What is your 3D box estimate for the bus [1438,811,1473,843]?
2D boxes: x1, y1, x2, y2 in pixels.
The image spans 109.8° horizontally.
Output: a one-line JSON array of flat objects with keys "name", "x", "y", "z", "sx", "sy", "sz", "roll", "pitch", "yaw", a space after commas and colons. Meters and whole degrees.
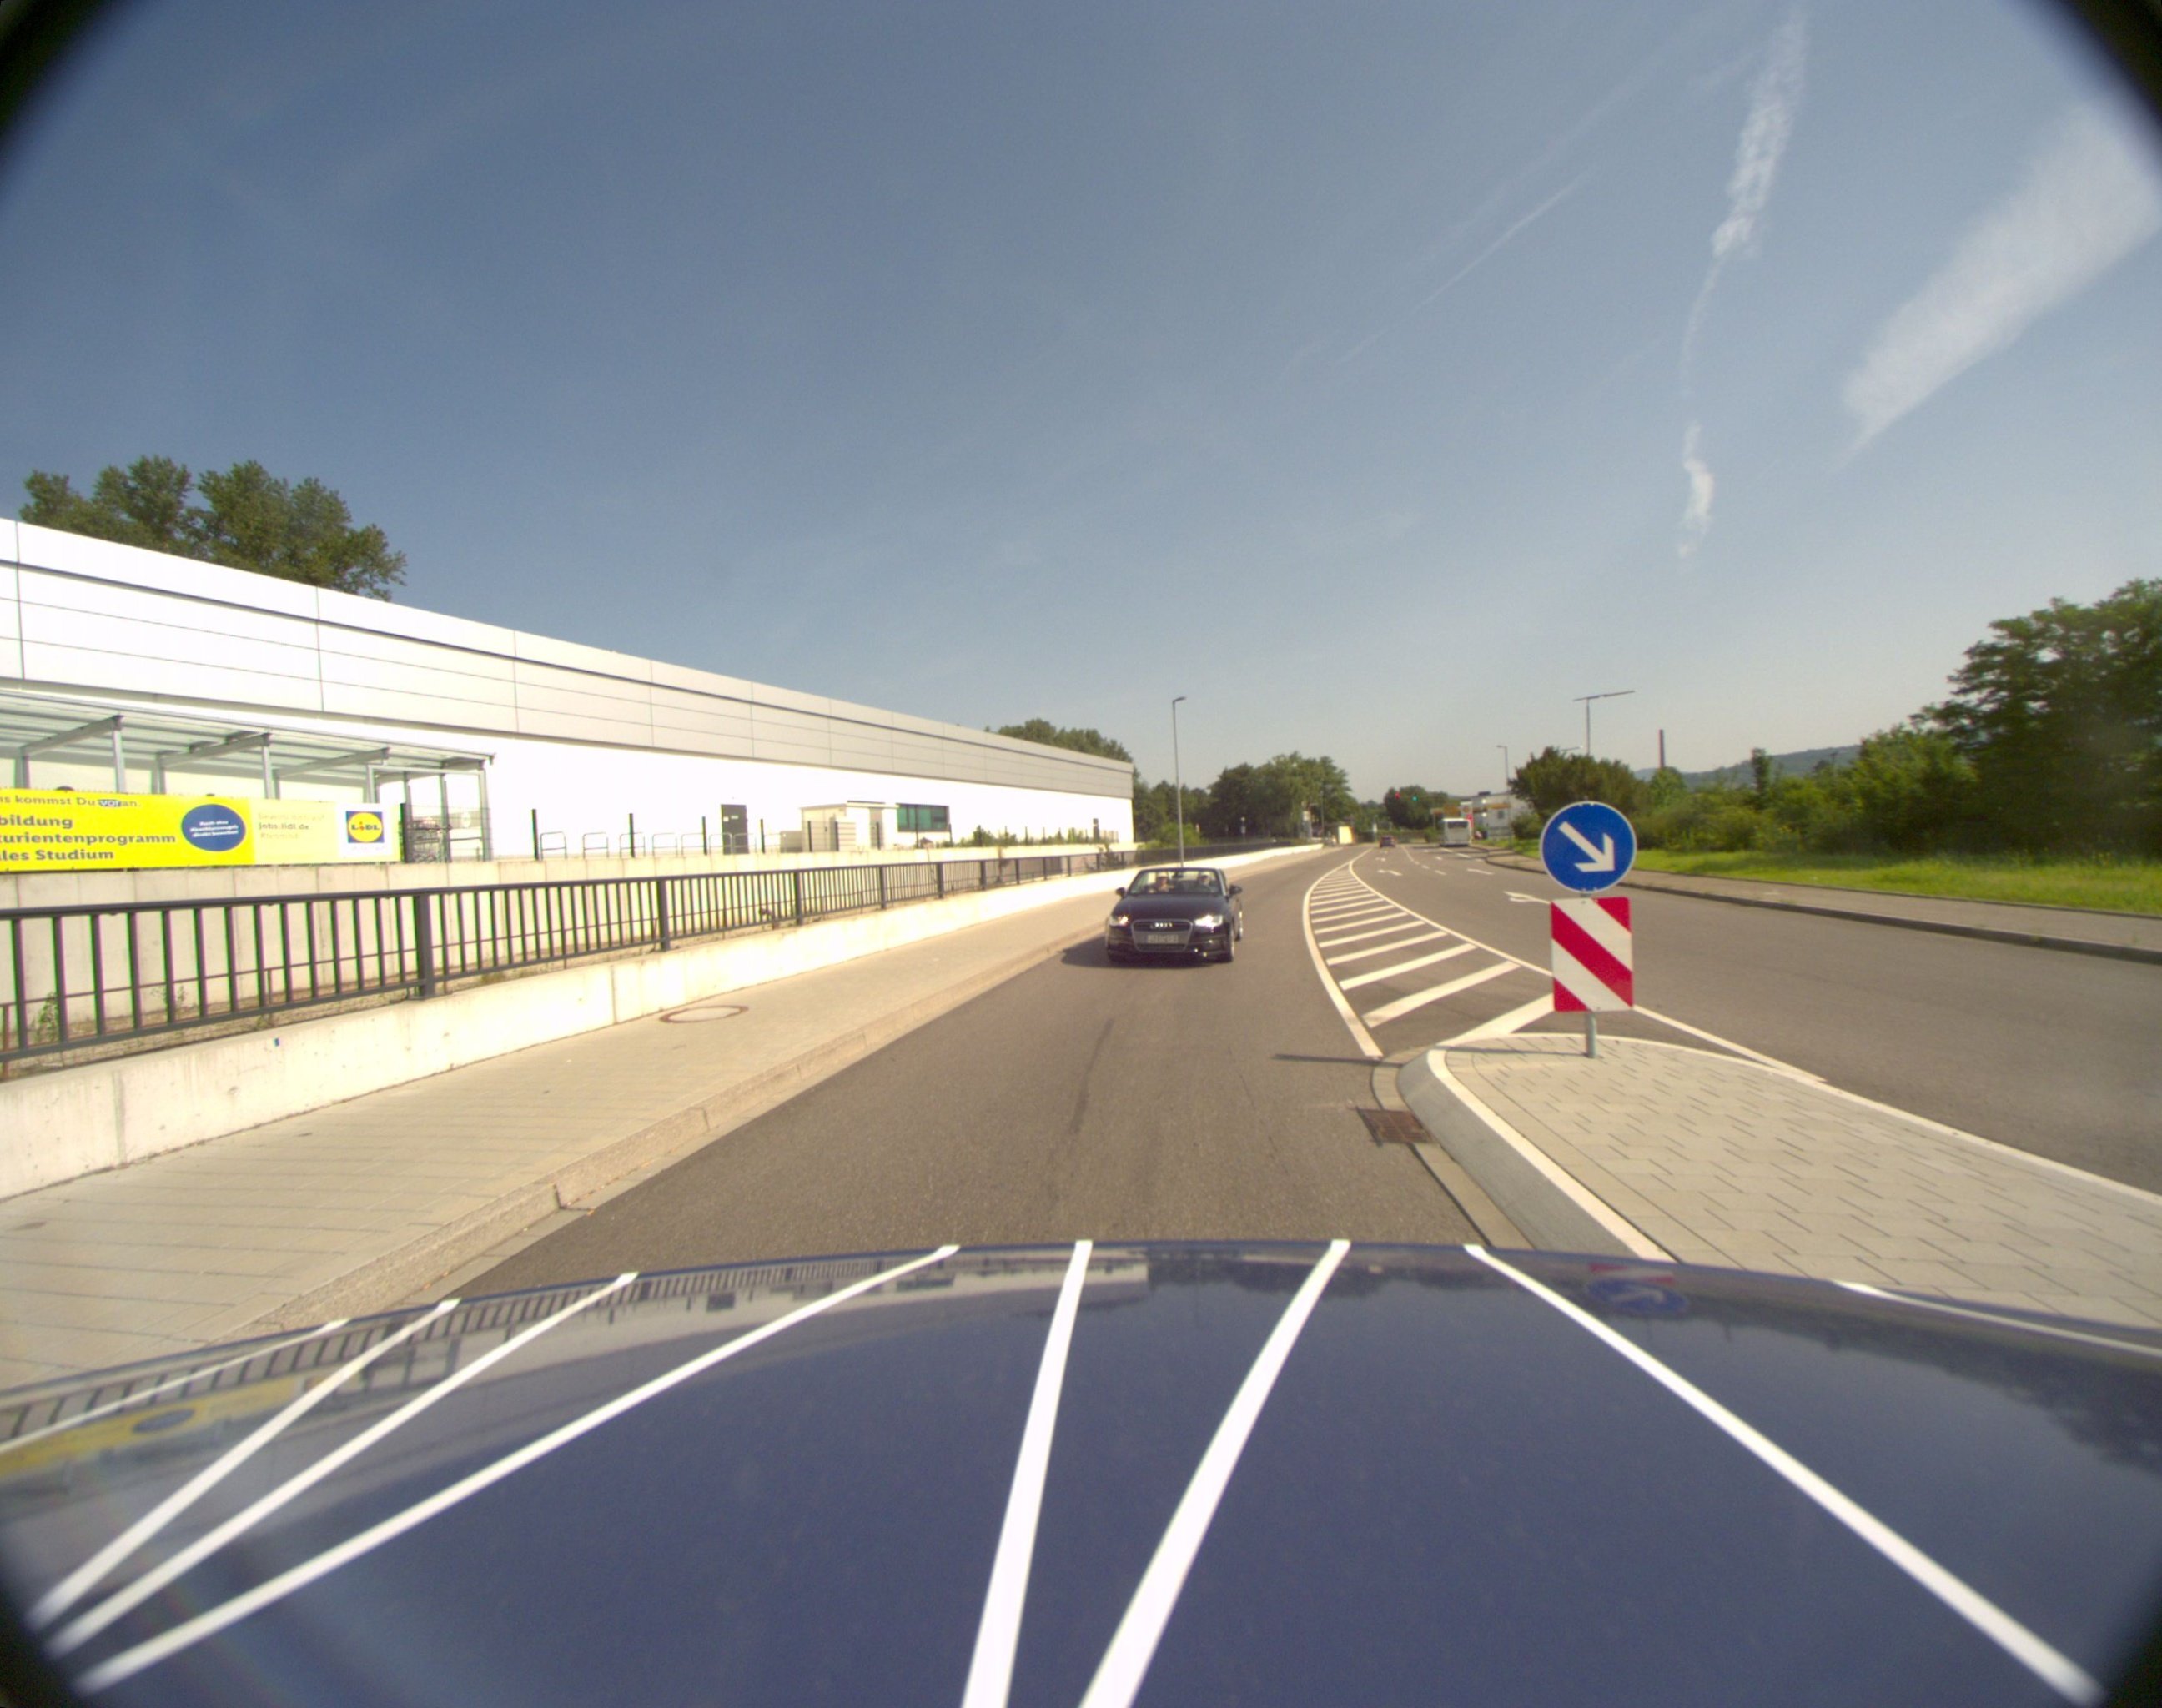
[{"name": "bus", "x": 42.266, "y": -3.111, "z": 86.091, "sx": 2.623, "sy": 3.291, "sz": 11.972, "roll": -1, "pitch": 1, "yaw": 22}]

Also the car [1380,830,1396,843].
[{"name": "car", "x": 37.916, "y": -2.157, "z": 93.763, "sx": 1.774, "sy": 1.464, "sz": 4.225, "roll": -2, "pitch": 2, "yaw": 23}]

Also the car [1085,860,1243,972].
[{"name": "car", "x": 1.508, "y": 0.856, "z": 12.043, "sx": 1.867, "sy": 1.323, "sz": 4.236, "roll": -3, "pitch": 0, "yaw": 14}]

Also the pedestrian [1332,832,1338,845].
[{"name": "pedestrian", "x": 34.189, "y": -2.079, "z": 102.215, "sx": 0.711, "sy": 1.662, "sz": 0.593, "roll": -2, "pitch": 2, "yaw": 16}]
